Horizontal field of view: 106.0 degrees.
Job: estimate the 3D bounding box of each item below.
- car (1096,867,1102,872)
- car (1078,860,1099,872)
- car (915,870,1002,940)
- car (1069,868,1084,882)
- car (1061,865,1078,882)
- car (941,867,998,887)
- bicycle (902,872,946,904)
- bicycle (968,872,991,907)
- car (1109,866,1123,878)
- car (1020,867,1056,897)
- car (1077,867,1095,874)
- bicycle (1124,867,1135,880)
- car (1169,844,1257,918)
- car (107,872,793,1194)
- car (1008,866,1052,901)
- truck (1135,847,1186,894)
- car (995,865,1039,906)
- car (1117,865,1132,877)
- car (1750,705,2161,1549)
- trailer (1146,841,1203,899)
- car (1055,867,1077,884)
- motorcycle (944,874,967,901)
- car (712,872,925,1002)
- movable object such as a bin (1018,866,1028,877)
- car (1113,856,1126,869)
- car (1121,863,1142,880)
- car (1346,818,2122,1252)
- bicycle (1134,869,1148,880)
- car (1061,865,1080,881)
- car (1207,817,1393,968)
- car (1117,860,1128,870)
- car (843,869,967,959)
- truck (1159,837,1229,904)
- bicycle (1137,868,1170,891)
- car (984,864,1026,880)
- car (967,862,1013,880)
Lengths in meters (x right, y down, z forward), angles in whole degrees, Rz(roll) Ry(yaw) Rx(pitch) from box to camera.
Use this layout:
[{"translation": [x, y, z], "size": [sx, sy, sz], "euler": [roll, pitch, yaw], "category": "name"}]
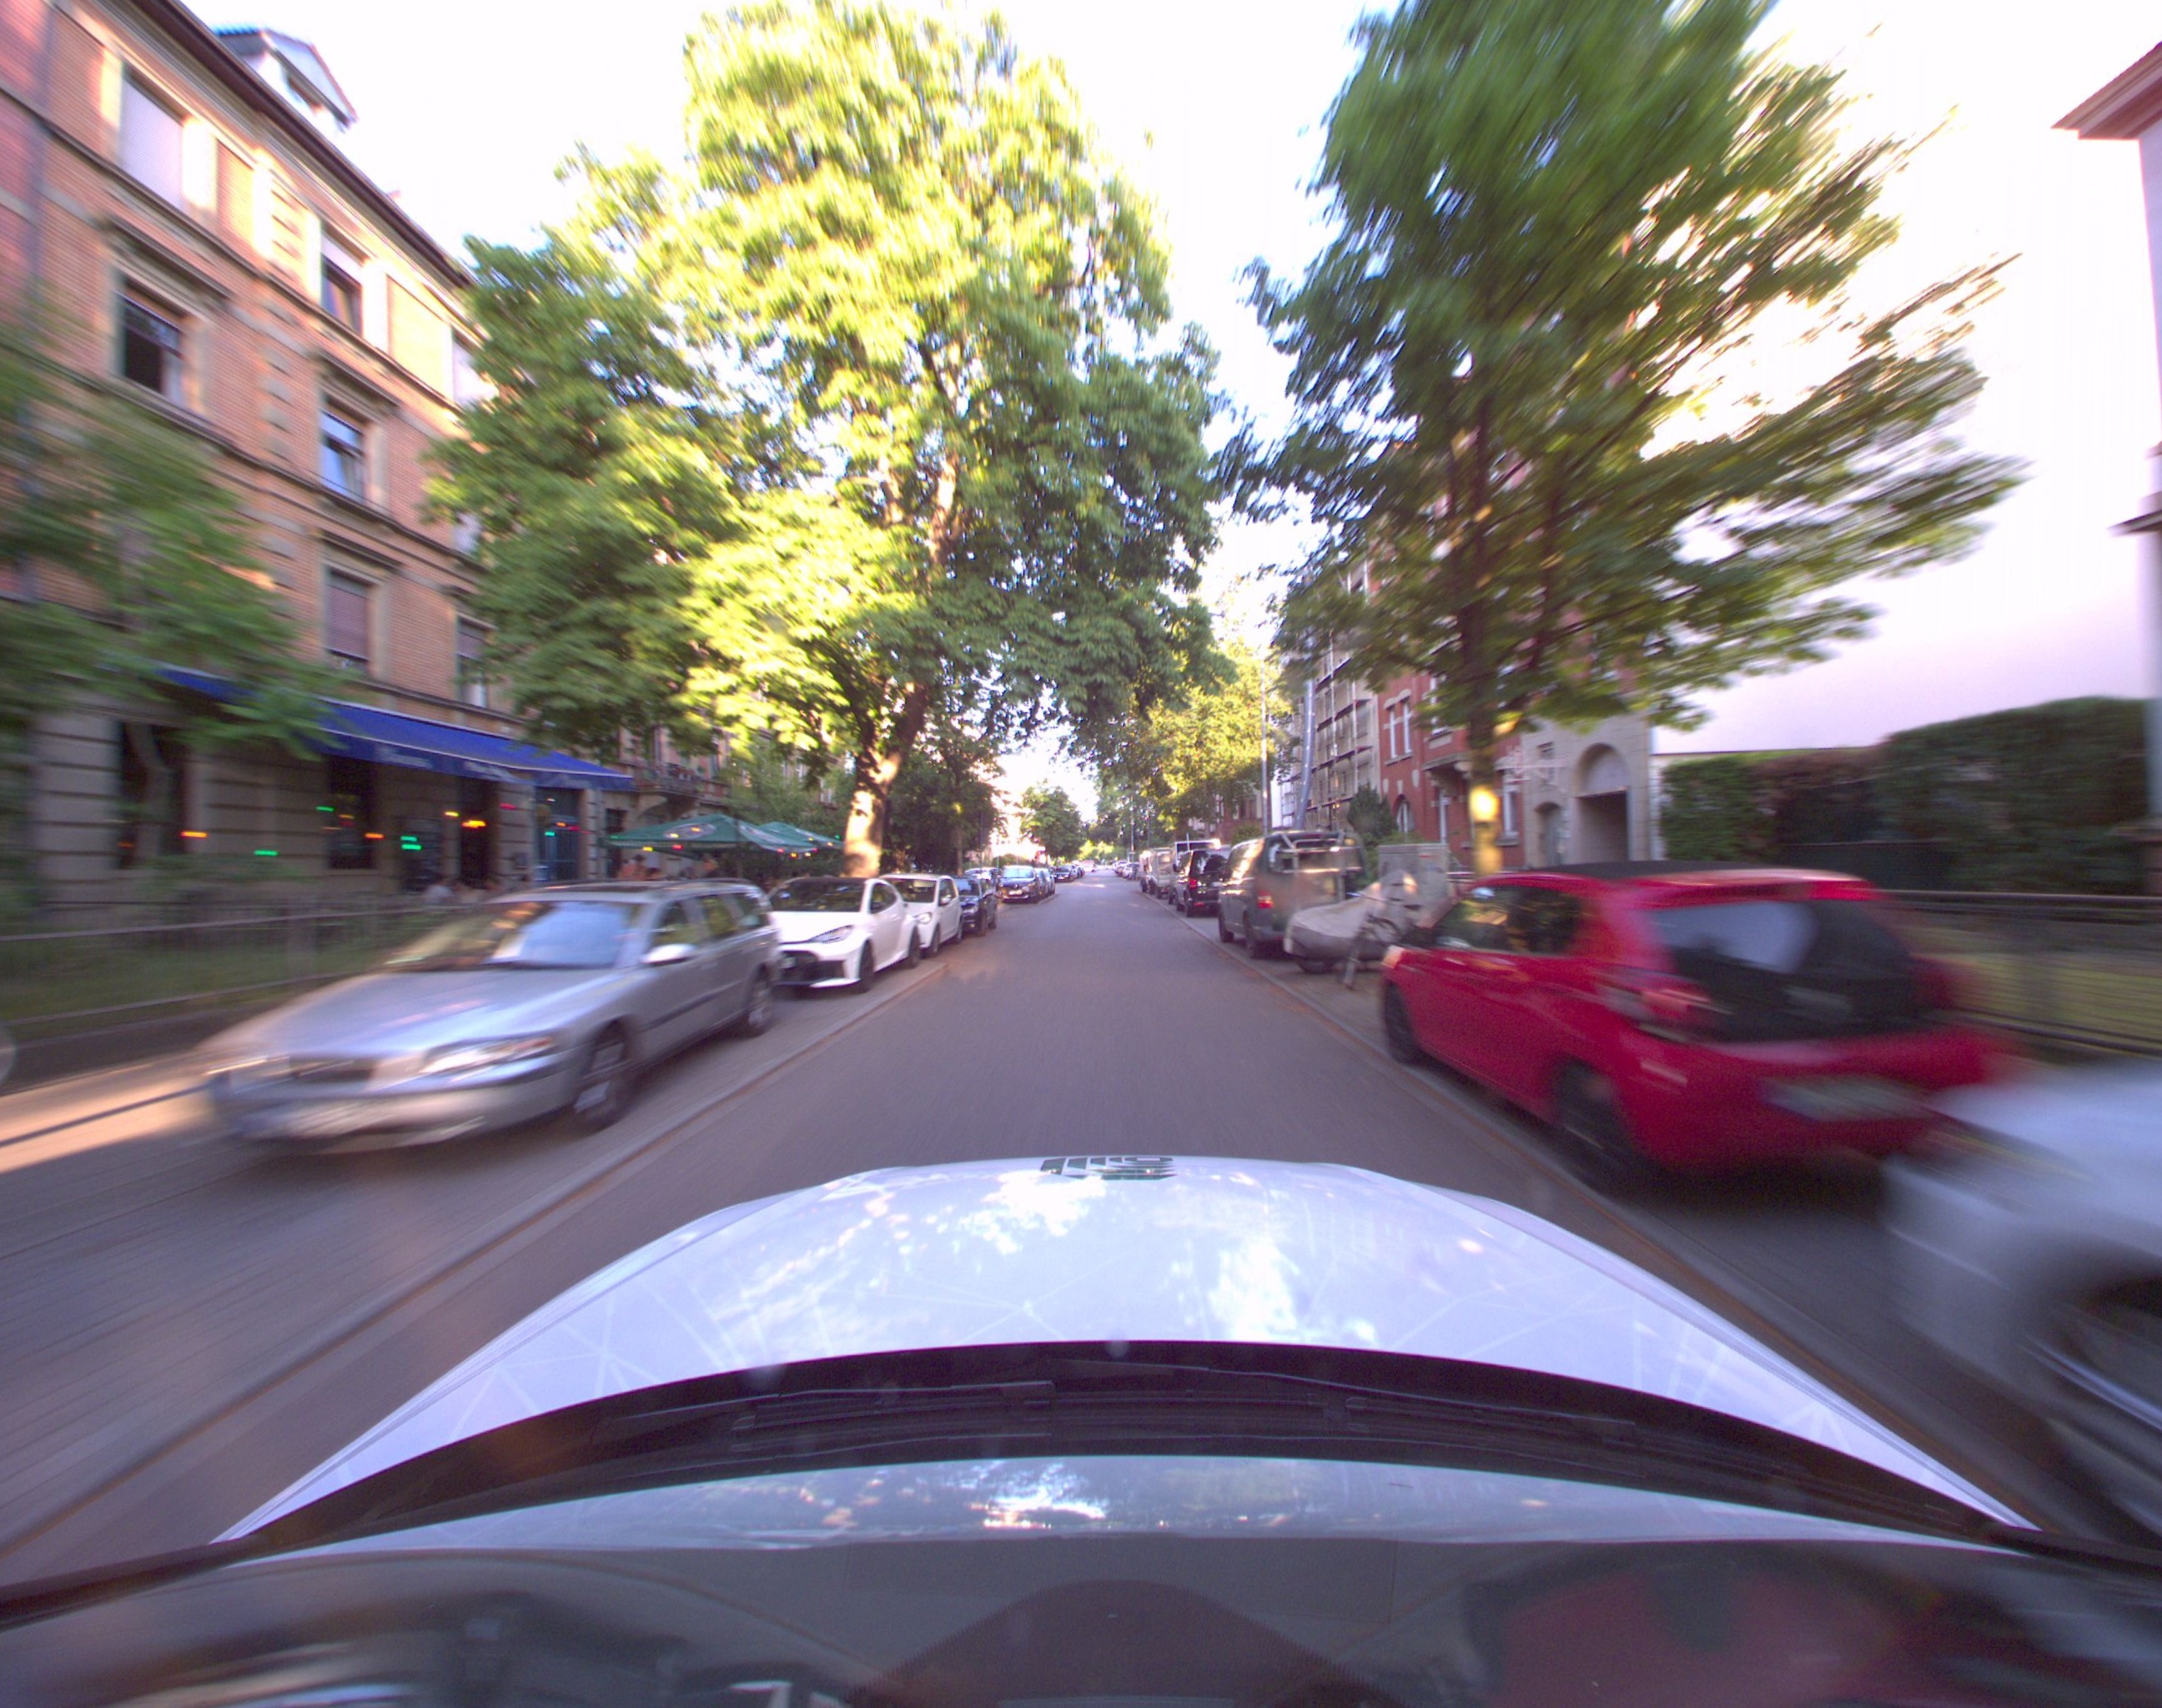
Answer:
[{"translation": [5.489, 4.601, 244.592], "size": [1.806, 1.596, 3.483], "euler": [-1, -1, 1], "category": "car"}, {"translation": [1.609, 2.498, 172.569], "size": [4.336, 2.318, 1.745], "euler": [-1, -1, -1], "category": "car"}, {"translation": [-2.926, 1.181, 20.140], "size": [1.546, 1.485, 3.693], "euler": [-2, 0, 0], "category": "car"}, {"translation": [-0.555, 2.647, 103.355], "size": [1.709, 1.566, 3.789], "euler": [-1, -1, 1], "category": "car"}, {"translation": [-1.160, 1.916, 80.058], "size": [1.591, 1.603, 3.741], "euler": [-1, -1, -2], "category": "car"}, {"translation": [-8.909, 1.858, 65.201], "size": [4.067, 1.447, 1.714], "euler": [-1, 0, 10], "category": "car"}, {"translation": [-6.852, 1.488, 35.690], "size": [0.600, 1.285, 2.499], "euler": [-2, -1, 21], "category": "bicycle"}, {"translation": [-3.957, 1.373, 31.948], "size": [0.480, 1.255, 1.902], "euler": [2, 0, 4], "category": "bicycle"}, {"translation": [4.661, 2.451, 109.361], "size": [1.682, 1.606, 3.937], "euler": [-1, -1, -1], "category": "car"}, {"translation": [-2.344, 1.539, 45.687], "size": [1.684, 1.502, 4.738], "euler": [1, 0, 1], "category": "car"}, {"translation": [1.028, 3.445, 169.857], "size": [3.610, 1.461, 1.605], "euler": [-1, -1, -3], "category": "car"}, {"translation": [4.614, 1.847, 77.198], "size": [0.439, 1.173, 1.646], "euler": [-2, -1, 26], "category": "bicycle"}, {"translation": [3.926, 0.752, 24.952], "size": [1.833, 1.942, 4.613], "euler": [-4, 0, 0], "category": "car"}, {"translation": [-3.772, 0.884, 6.164], "size": [1.836, 1.411, 4.593], "euler": [0, 0, -4], "category": "car"}, {"translation": [-2.453, 1.422, 39.983], "size": [1.683, 1.502, 4.403], "euler": [3, -1, 1], "category": "car"}, {"translation": [4.180, 0.883, 43.789], "size": [1.971, 2.245, 6.773], "euler": [-2, -1, -1], "category": "truck"}, {"translation": [-2.690, 1.299, 35.069], "size": [1.685, 1.563, 4.399], "euler": [1, 0, -2], "category": "car"}, {"translation": [5.403, 2.104, 101.505], "size": [1.681, 1.441, 4.210], "euler": [-3, -1, 1], "category": "car"}, {"translation": [3.047, 0.483, 0.444], "size": [1.662, 1.678, 4.111], "euler": [-4, 0, -5], "category": "car"}, {"translation": [4.141, 0.707, 36.703], "size": [1.947, 2.295, 4.645], "euler": [-4, -1, 1], "category": "trailer"}, {"translation": [-1.363, 2.001, 75.182], "size": [1.609, 1.470, 3.965], "euler": [-1, -1, 4], "category": "car"}, {"translation": [-6.162, 1.627, 40.025], "size": [0.580, 1.156, 2.892], "euler": [1, 0, 1], "category": "motorcycle"}, {"translation": [-3.441, 1.008, 11.460], "size": [1.597, 1.435, 3.887], "euler": [1, 0, 2], "category": "car"}, {"translation": [-7.014, 2.110, 98.262], "size": [1.008, 1.321, 1.007], "euler": [1, 0, 6], "category": "movable object such as a bin"}, {"translation": [6.148, 1.416, 130.111], "size": [1.675, 1.941, 3.878], "euler": [-1, -1, -1], "category": "car"}, {"translation": [5.325, 1.871, 86.256], "size": [1.793, 1.711, 4.598], "euler": [-2, -1, -1], "category": "car"}, {"translation": [3.024, 0.674, 4.877], "size": [1.658, 1.500, 3.695], "euler": [-4, 0, 1], "category": "car"}, {"translation": [5.661, 1.965, 76.960], "size": [1.230, 0.951, 0.327], "euler": [-2, 0, -27], "category": "bicycle"}, {"translation": [-1.126, 2.158, 91.527], "size": [1.914, 1.717, 4.428], "euler": [-1, -1, 1], "category": "car"}, {"translation": [3.565, 0.565, 14.293], "size": [1.947, 2.059, 4.831], "euler": [-4, 0, 1], "category": "car"}, {"translation": [6.386, 1.692, 125.953], "size": [1.534, 1.521, 3.429], "euler": [-1, -1, -1], "category": "car"}, {"translation": [-3.320, 1.078, 16.013], "size": [1.546, 1.485, 3.694], "euler": [1, 0, 1], "category": "car"}, {"translation": [4.252, 0.595, 31.255], "size": [1.947, 2.246, 4.645], "euler": [-4, 0, 1], "category": "truck"}, {"translation": [4.378, 1.539, 49.344], "size": [1.899, 1.258, 0.406], "euler": [-4, -1, -5], "category": "bicycle"}, {"translation": [-7.678, 1.792, 82.489], "size": [4.079, 1.527, 1.709], "euler": [2, -1, 0], "category": "car"}, {"translation": [-7.829, 1.458, 70.109], "size": [3.541, 1.447, 1.822], "euler": [-1, 0, 10], "category": "car"}]
